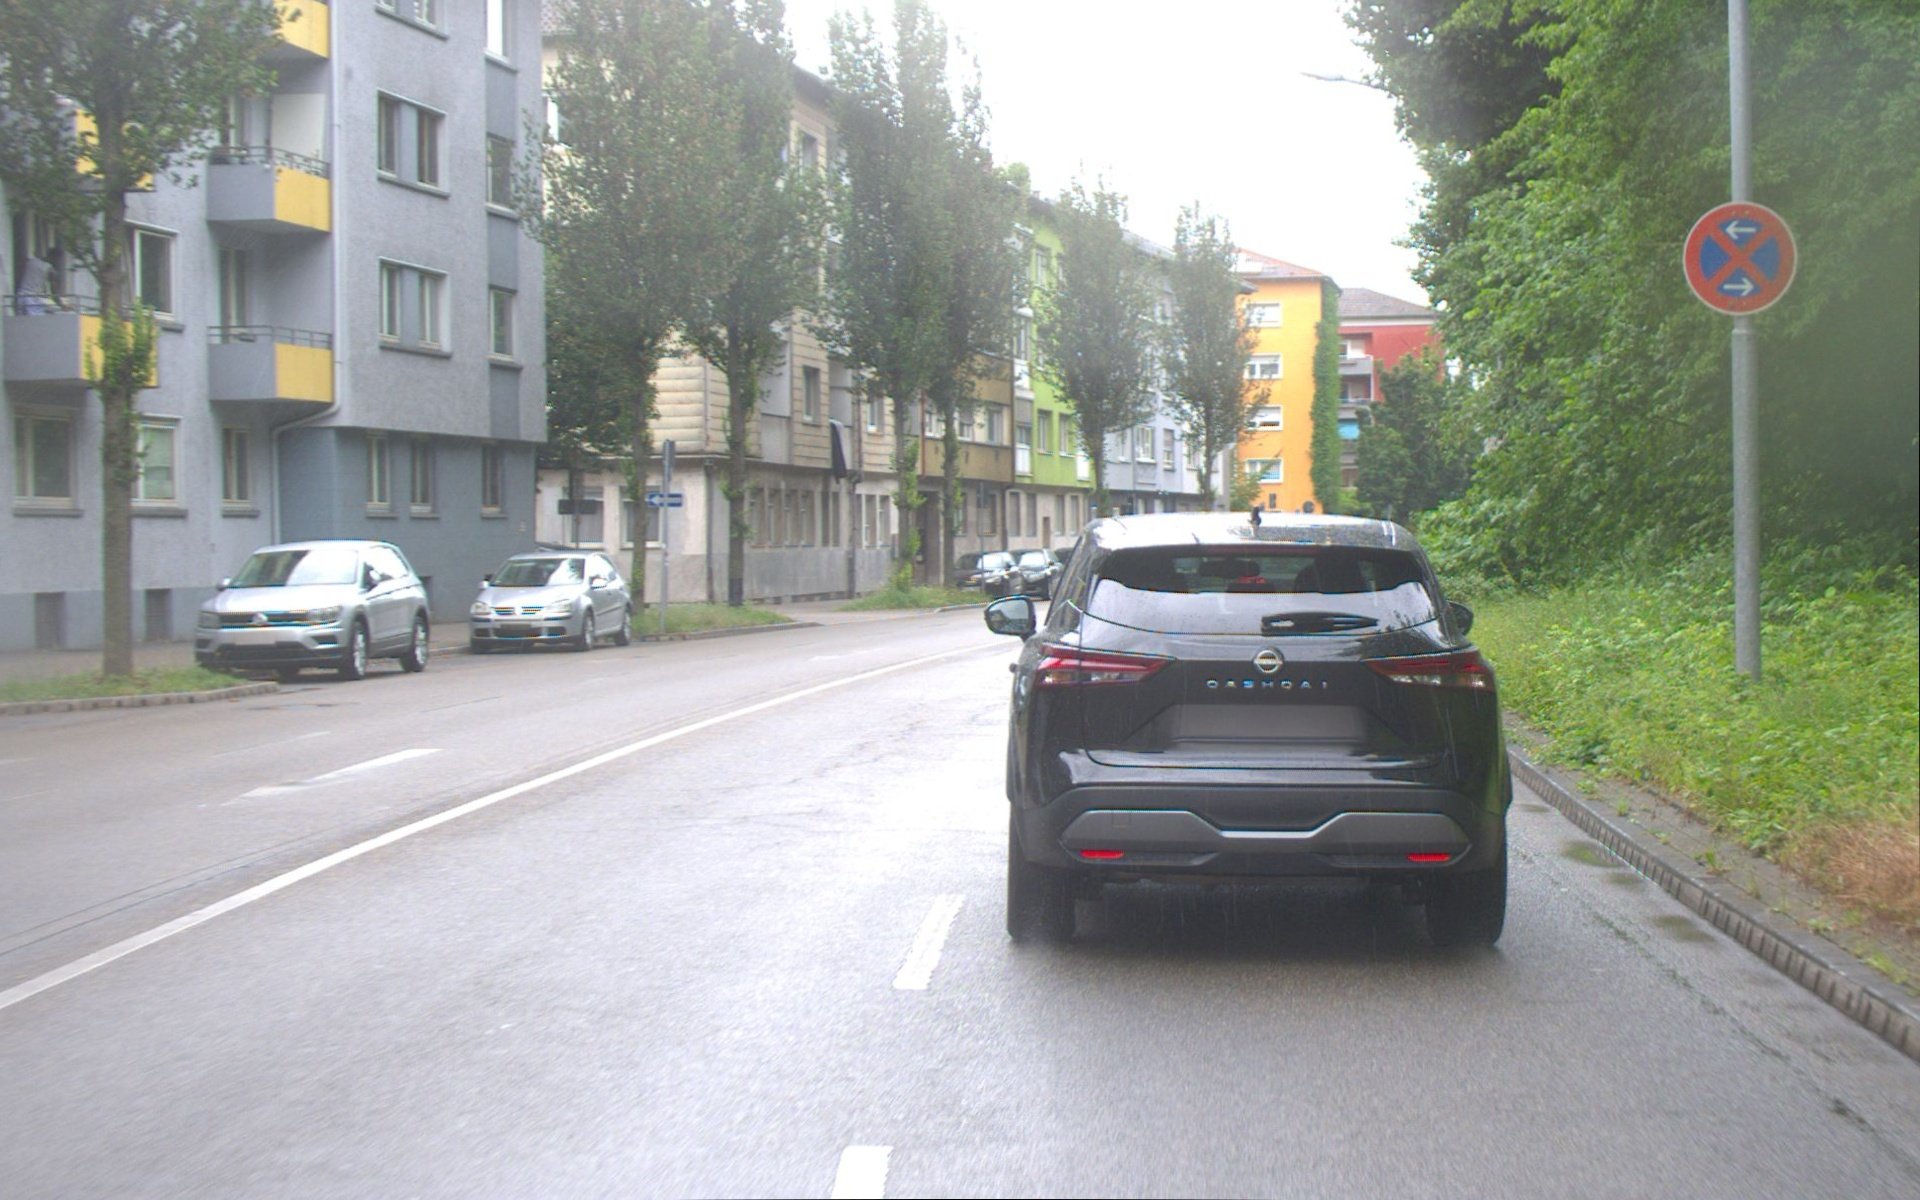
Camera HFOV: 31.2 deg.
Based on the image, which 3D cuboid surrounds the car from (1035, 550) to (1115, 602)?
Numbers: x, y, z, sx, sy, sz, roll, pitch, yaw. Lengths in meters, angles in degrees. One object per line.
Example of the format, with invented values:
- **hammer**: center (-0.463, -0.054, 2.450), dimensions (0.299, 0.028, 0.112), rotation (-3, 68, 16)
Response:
- **car**: center (3.570, -0.757, 106.046), dimensions (1.719, 1.483, 4.513), rotation (-2, 1, 11)

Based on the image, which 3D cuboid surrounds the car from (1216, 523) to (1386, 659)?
- **car**: center (4.430, -0.147, 45.176), dimensions (1.887, 1.705, 4.000), rotation (0, 1, 1)

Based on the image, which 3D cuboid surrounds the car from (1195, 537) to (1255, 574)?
- **car**: center (10.832, -1.824, 140.077), dimensions (1.689, 1.353, 4.576), rotation (-3, 0, 13)

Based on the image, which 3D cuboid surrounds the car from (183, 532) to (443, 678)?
- **car**: center (-7.533, 0.015, 40.472), dimensions (1.764, 1.598, 4.533), rotation (-1, 1, 6)

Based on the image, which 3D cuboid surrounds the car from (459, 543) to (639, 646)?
- **car**: center (-6.097, -0.107, 51.440), dimensions (1.724, 1.448, 4.204), rotation (-1, 1, 7)

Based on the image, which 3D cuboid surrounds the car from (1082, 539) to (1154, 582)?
- **car**: center (5.429, -1.352, 117.599), dimensions (1.818, 1.367, 4.678), rotation (-2, 1, 10)

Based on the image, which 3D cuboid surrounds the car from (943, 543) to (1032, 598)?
- **car**: center (0.742, -0.791, 90.932), dimensions (1.626, 1.382, 3.987), rotation (-1, 1, 11)

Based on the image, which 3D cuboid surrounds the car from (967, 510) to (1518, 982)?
- **car**: center (0.996, 0.449, 13.701), dimensions (1.845, 1.577, 4.000), rotation (1, 1, 1)
